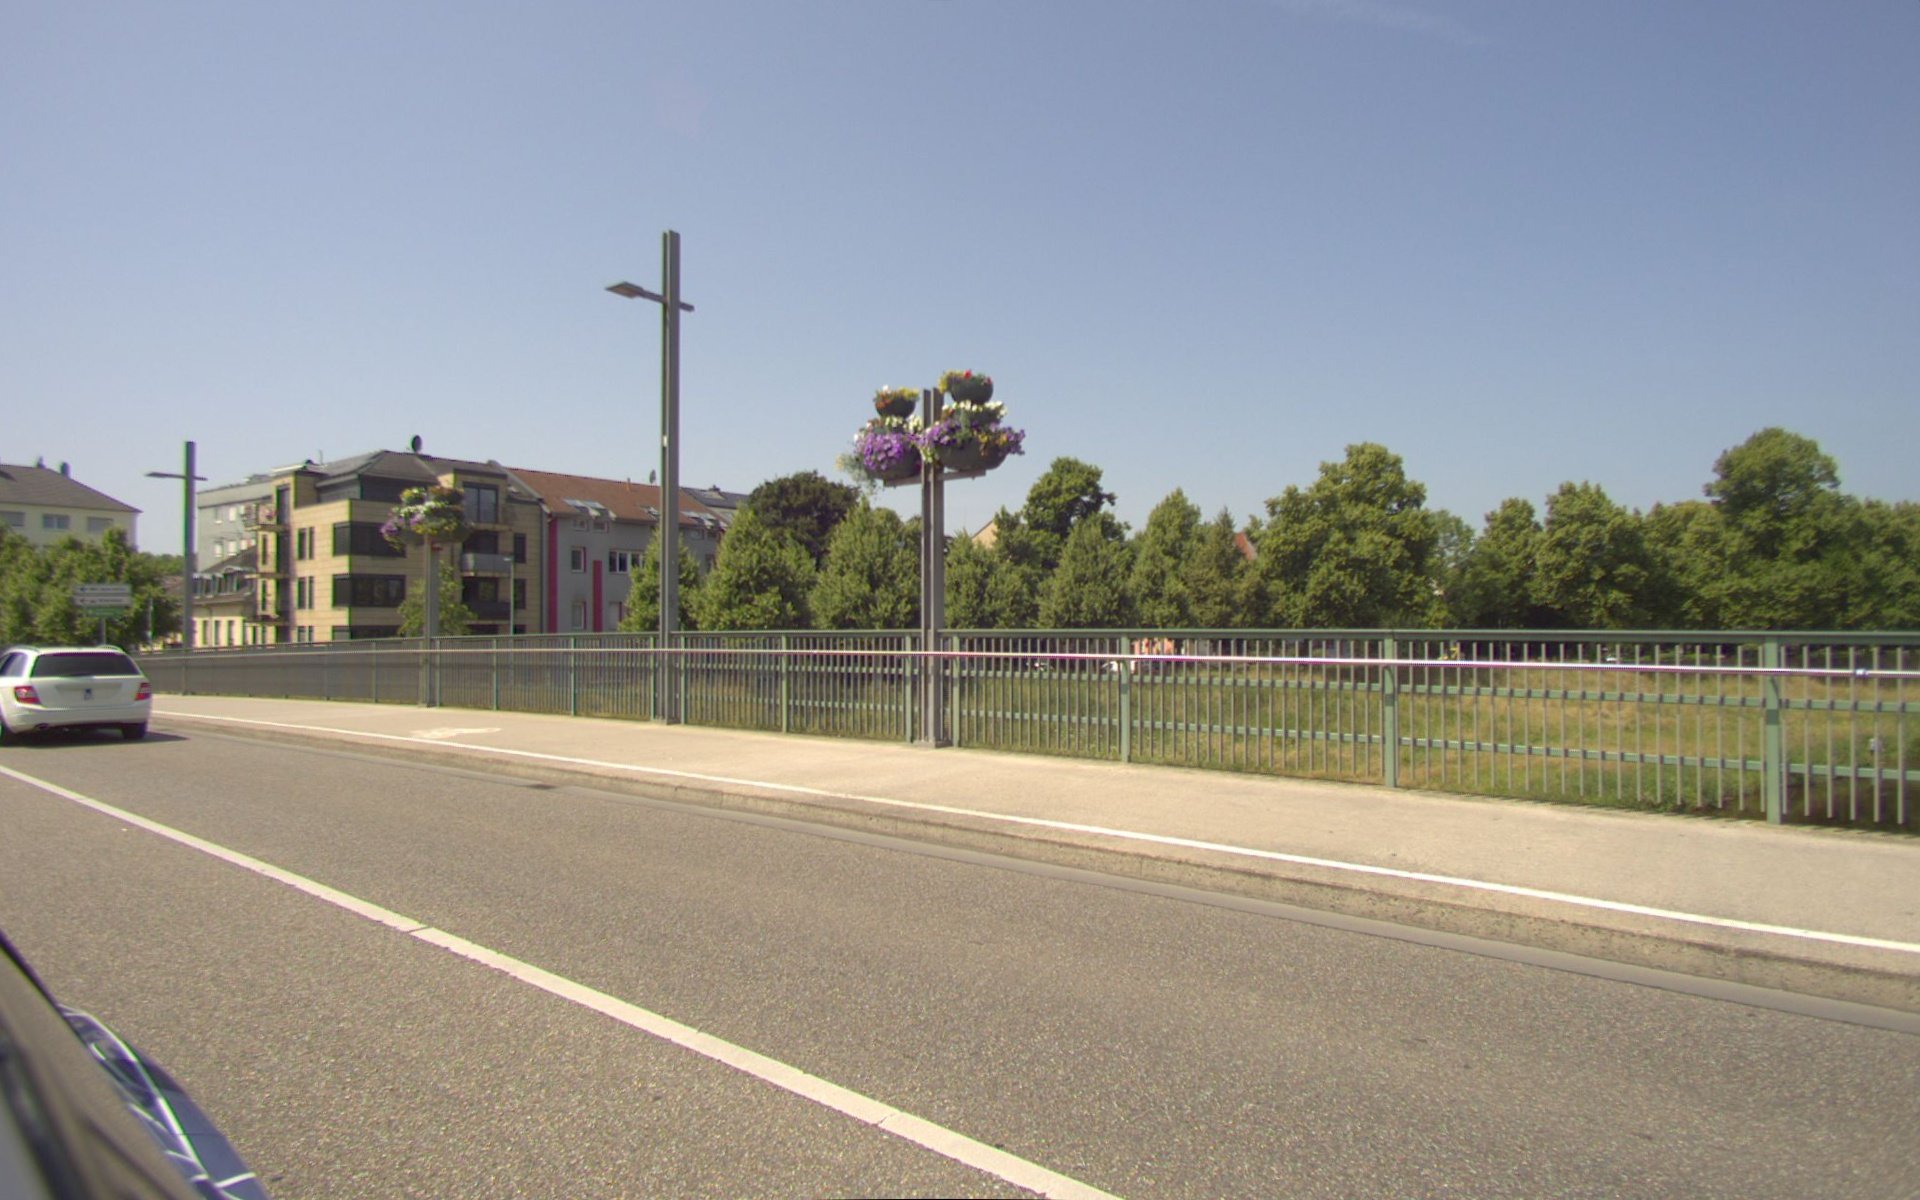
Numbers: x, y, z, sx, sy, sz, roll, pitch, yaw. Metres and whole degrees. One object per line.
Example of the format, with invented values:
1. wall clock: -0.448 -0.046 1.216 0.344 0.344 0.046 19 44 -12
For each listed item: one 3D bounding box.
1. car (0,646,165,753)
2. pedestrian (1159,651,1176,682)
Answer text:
1. car: -14.457 1.457 15.966 4.705 1.443 1.827 -2 -3 37
2. pedestrian: 14.039 4.513 68.488 0.881 2.029 0.717 -1 -1 34
